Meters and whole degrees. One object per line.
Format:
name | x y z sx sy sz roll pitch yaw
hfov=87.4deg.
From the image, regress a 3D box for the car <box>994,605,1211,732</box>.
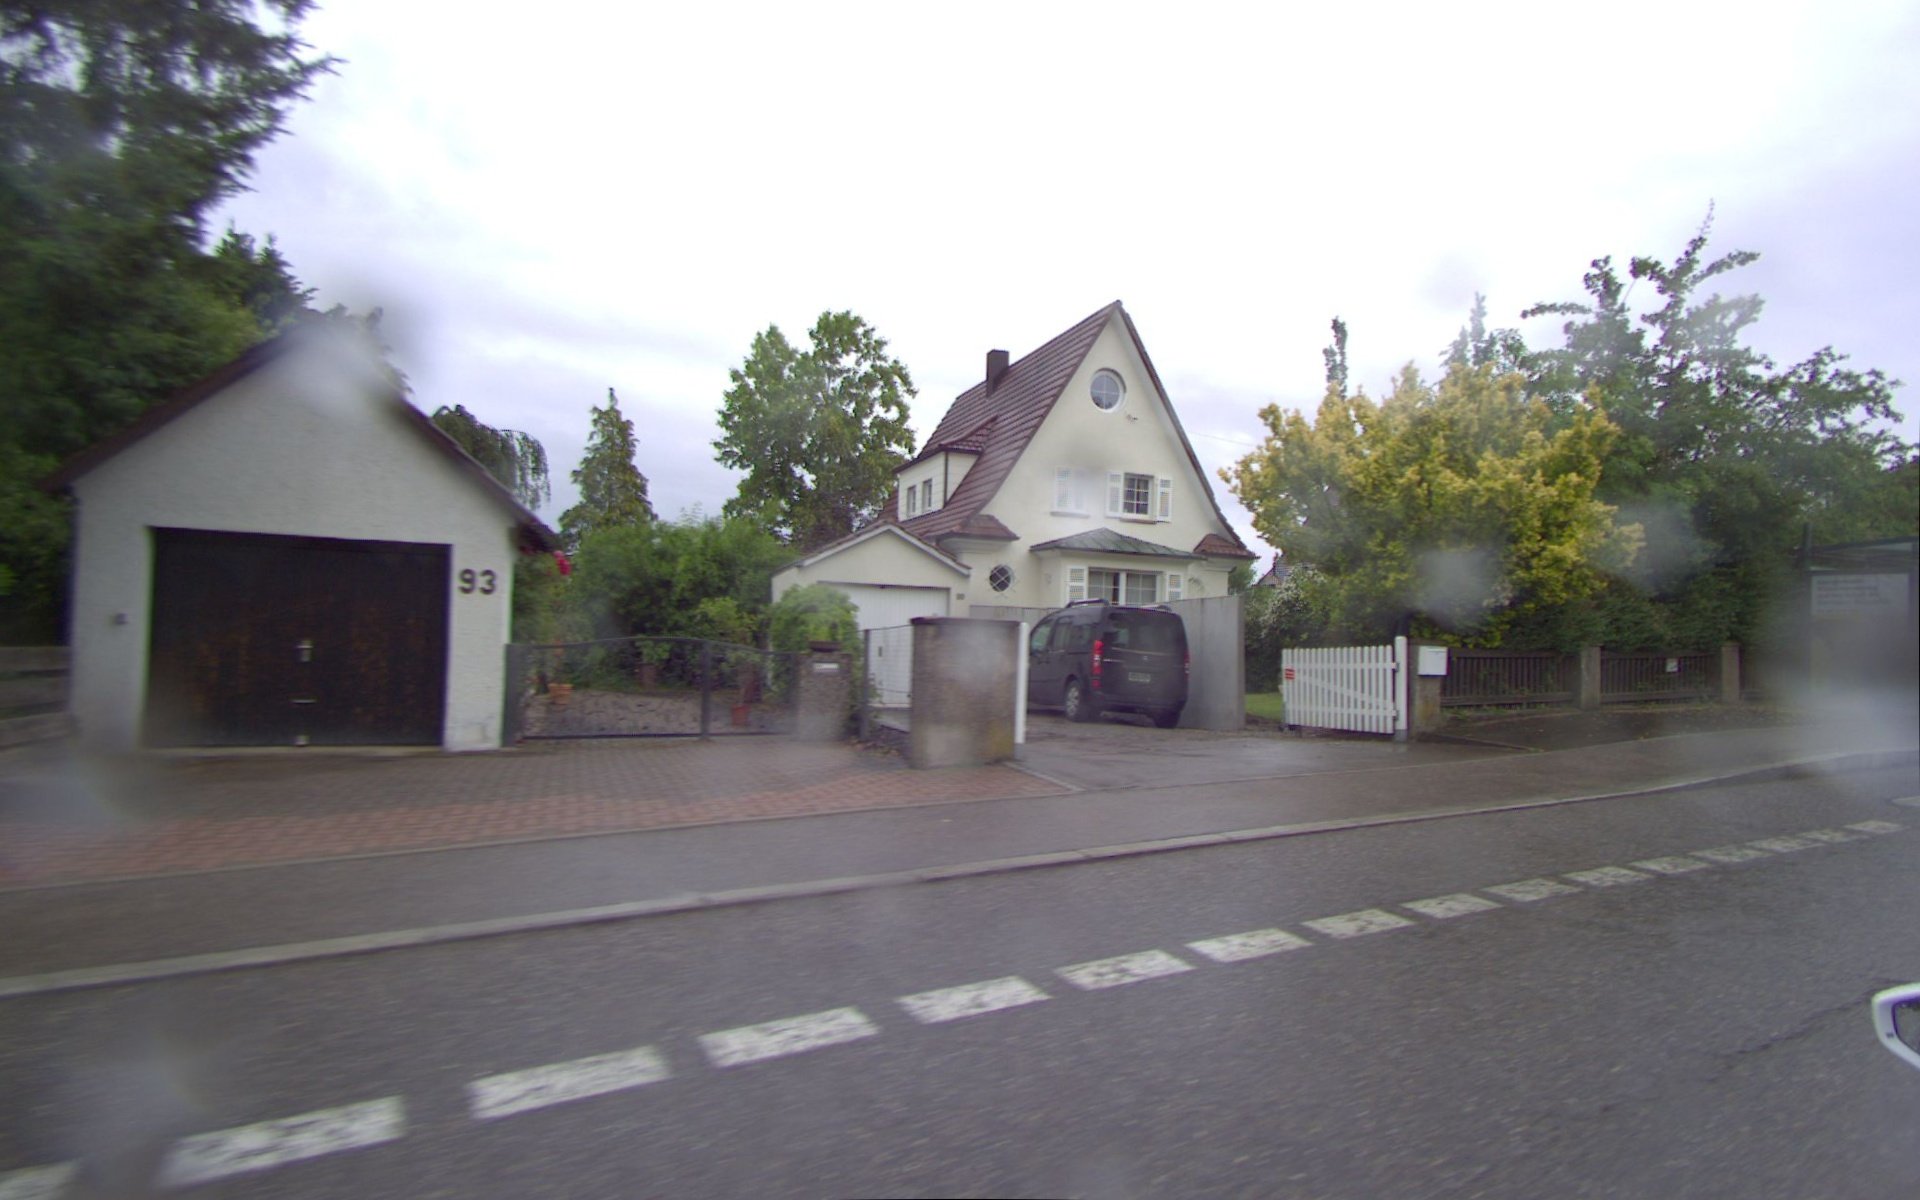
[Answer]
car | 2.174 1.013 16.490 1.968 1.807 3.984 1 -1 -18
